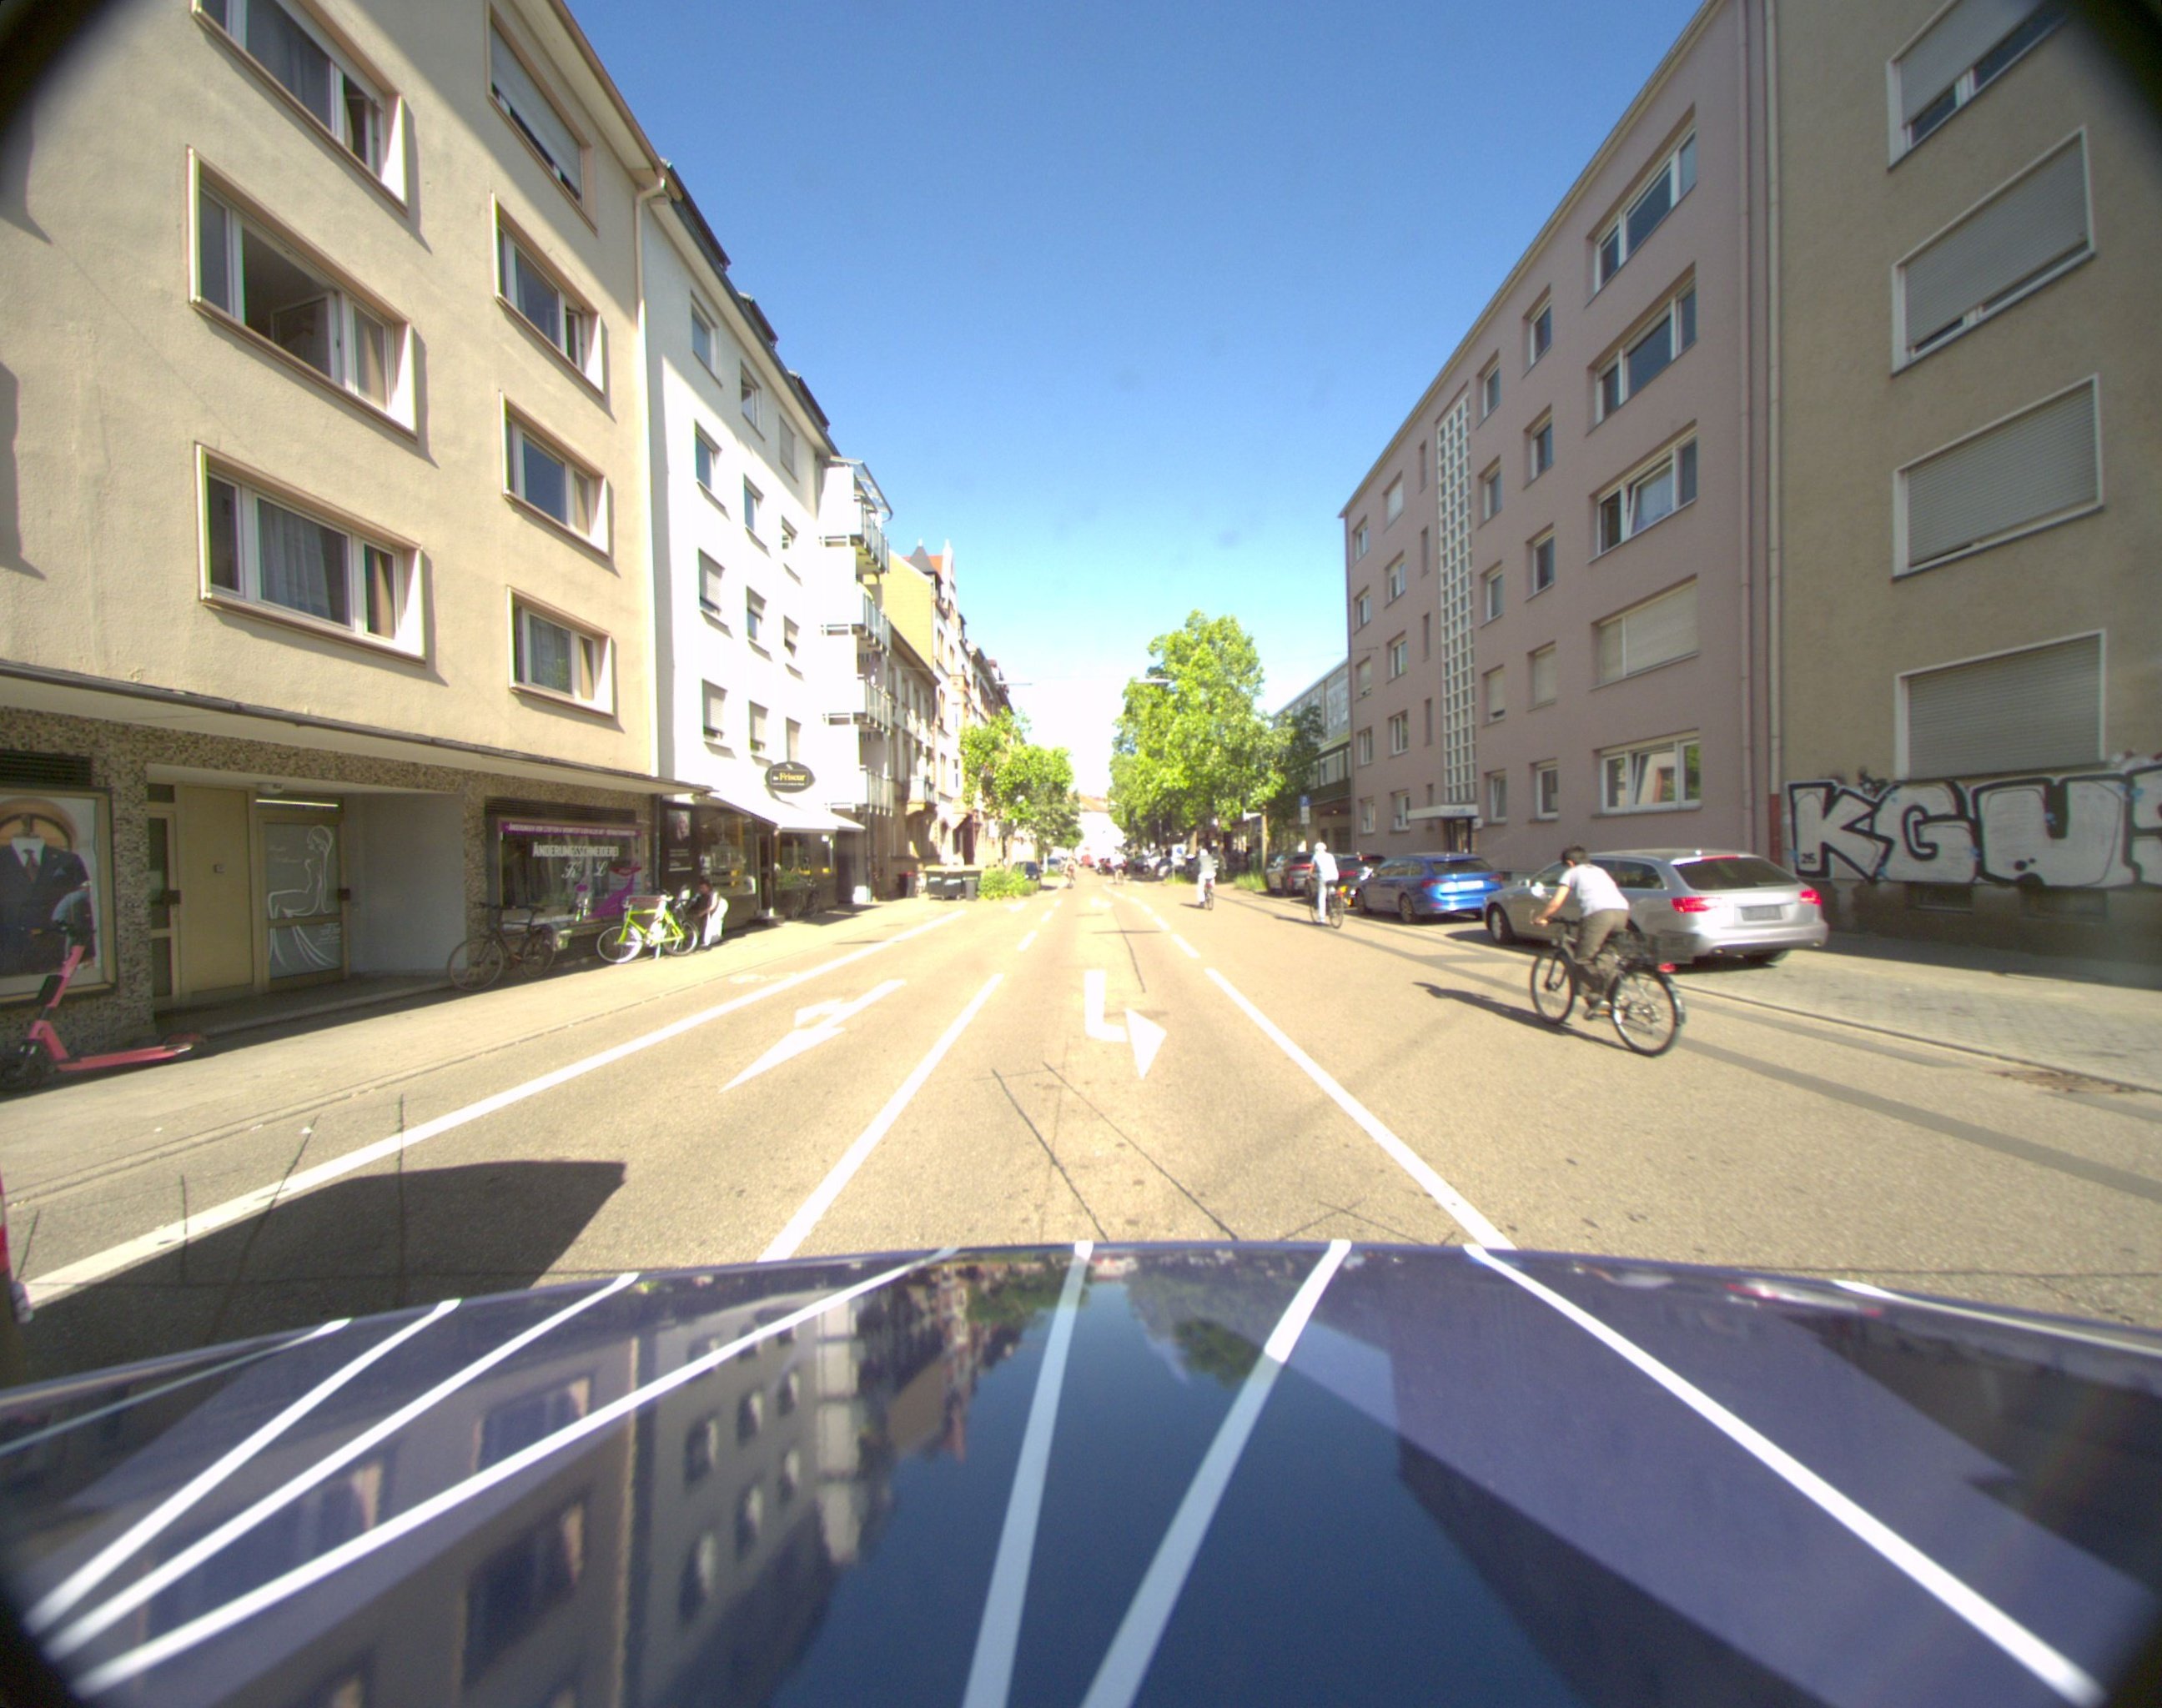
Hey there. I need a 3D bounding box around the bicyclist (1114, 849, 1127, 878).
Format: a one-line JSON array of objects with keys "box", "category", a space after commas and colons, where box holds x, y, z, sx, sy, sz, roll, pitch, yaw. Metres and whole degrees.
[{"box": [2.207, 0.513, 42.603, 0.718, 1.611, 0.946, -1, 1, 1], "category": "bicyclist"}]

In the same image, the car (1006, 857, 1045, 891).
[{"box": [-2.750, 0.994, 38.485, 1.627, 1.586, 3.547, -1, 0, 1], "category": "car"}]

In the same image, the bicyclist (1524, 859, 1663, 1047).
[{"box": [4.040, 0.739, 6.040, 0.544, 1.383, 0.788, -1, 0, -2], "category": "bicyclist"}]

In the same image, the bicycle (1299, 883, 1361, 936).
[{"box": [5.115, 1.113, 15.740, 0.681, 0.946, 1.934, -1, 0, 1], "category": "bicycle"}]

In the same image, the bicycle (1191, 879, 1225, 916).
[{"box": [3.564, 1.202, 21.485, 0.681, 0.946, 1.934, 0, 0, 1], "category": "bicycle"}]

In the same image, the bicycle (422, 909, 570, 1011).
[{"box": [-7.630, 1.340, 10.016, 0.407, 1.078, 1.801, 1, 0, 6], "category": "bicycle"}]

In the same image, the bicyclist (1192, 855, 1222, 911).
[{"box": [3.538, 0.799, 21.394, 0.681, 1.567, 0.899, 0, 1, 1], "category": "bicyclist"}]

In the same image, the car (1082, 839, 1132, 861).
[{"box": [3.004, -0.425, 86.850, 5.571, 2.379, 1.973, -2, 0, -36], "category": "car"}]

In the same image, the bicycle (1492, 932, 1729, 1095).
[{"box": [4.051, 1.164, 6.013, 0.544, 0.897, 1.826, -1, 0, -2], "category": "bicycle"}]

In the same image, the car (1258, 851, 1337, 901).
[{"box": [7.695, 0.730, 27.367, 1.727, 1.567, 4.158, -4, 0, 2], "category": "car"}]

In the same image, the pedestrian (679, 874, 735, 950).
[{"box": [-7.393, 1.138, 15.042, 0.776, 1.433, 0.625, 2, 0, -4], "category": "pedestrian"}]

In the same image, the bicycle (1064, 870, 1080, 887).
[{"box": [-0.458, 1.264, 39.451, 0.582, 0.801, 1.710, -1, 0, 6], "category": "bicycle"}]

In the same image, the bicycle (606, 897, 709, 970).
[{"box": [-7.296, 1.335, 13.121, 1.497, 1.100, 0.722, -1, 0, -31], "category": "bicycle"}]

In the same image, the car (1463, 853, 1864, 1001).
[{"box": [7.495, 0.789, 10.601, 1.828, 1.494, 4.801, -4, 0, 0], "category": "car"}]

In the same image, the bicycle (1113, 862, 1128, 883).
[{"box": [2.209, 1.028, 42.637, 0.718, 1.057, 1.872, -1, 1, 1], "category": "bicycle"}]

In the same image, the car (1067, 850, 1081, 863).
[{"box": [-0.841, 0.287, 92.736, 1.627, 1.586, 3.547, -1, 0, 1], "category": "car"}]

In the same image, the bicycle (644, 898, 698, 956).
[{"box": [-7.724, 1.357, 14.349, 0.376, 0.977, 1.175, -1, 0, -1], "category": "bicycle"}]

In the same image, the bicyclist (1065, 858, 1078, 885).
[{"box": [-0.474, 0.887, 39.404, 0.582, 1.369, 0.665, -1, 1, 6], "category": "bicyclist"}]

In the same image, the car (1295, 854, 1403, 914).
[{"box": [7.601, 0.779, 21.992, 1.727, 1.459, 4.158, -4, 0, 2], "category": "car"}]

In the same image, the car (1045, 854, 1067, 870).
[{"box": [-2.356, 0.755, 72.098, 1.914, 1.444, 3.547, -1, 0, 1], "category": "car"}]

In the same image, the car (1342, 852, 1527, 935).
[{"box": [7.630, 0.763, 17.039, 1.828, 1.494, 4.801, -4, 0, 0], "category": "car"}]

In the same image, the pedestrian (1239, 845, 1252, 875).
[{"box": [9.921, 0.352, 45.794, 0.623, 1.795, 0.502, -2, 1, 2], "category": "pedestrian"}]

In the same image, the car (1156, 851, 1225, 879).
[{"box": [6.572, 0.641, 45.915, 3.996, 1.543, 1.913, -1, 0, 3], "category": "car"}]

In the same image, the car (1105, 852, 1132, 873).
[{"box": [2.841, 0.613, 58.838, 1.911, 1.543, 4.000, -1, 0, 0], "category": "car"}]

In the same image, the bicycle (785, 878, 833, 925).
[{"box": [-7.373, 1.261, 20.673, 0.598, 1.137, 1.774, 1, 0, 1], "category": "bicycle"}]

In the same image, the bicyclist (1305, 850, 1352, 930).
[{"box": [5.121, 0.728, 15.781, 0.681, 1.621, 0.899, 0, 1, 1], "category": "bicyclist"}]

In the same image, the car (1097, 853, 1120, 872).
[{"box": [2.405, 0.746, 67.698, 1.911, 1.543, 4.000, -1, 0, 0], "category": "car"}]

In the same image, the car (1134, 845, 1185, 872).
[{"box": [6.183, 0.338, 60.184, 3.875, 2.031, 1.913, -1, 0, 3], "category": "car"}]

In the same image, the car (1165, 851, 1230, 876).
[{"box": [7.495, 0.605, 49.095, 3.996, 1.543, 1.913, -1, 0, 3], "category": "car"}]
